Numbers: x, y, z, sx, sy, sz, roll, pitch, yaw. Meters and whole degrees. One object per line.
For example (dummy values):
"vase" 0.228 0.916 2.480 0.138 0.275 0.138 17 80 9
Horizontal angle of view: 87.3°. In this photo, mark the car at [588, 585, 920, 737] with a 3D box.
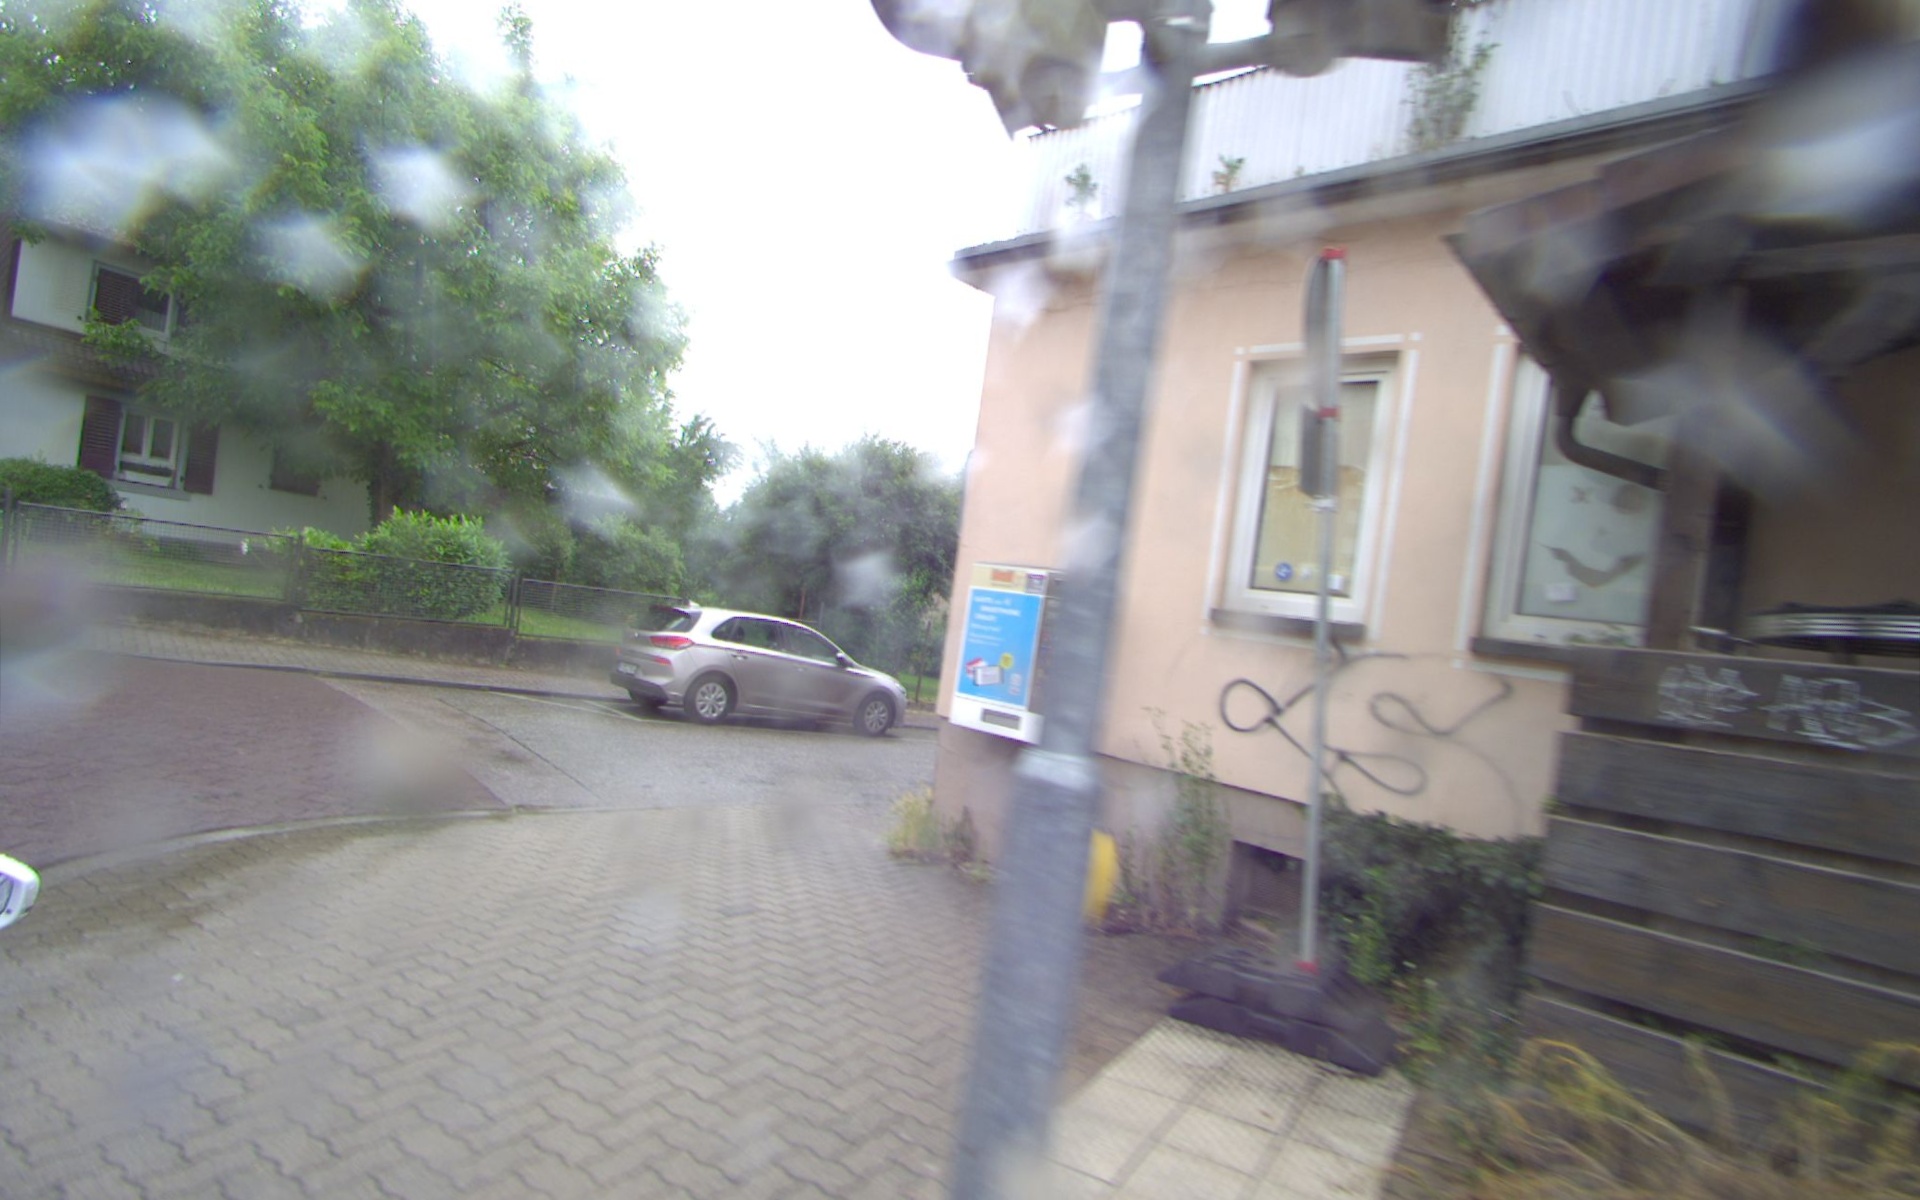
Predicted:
"car" -2.694 0.889 13.720 3.978 1.488 1.770 11 -2 -43
